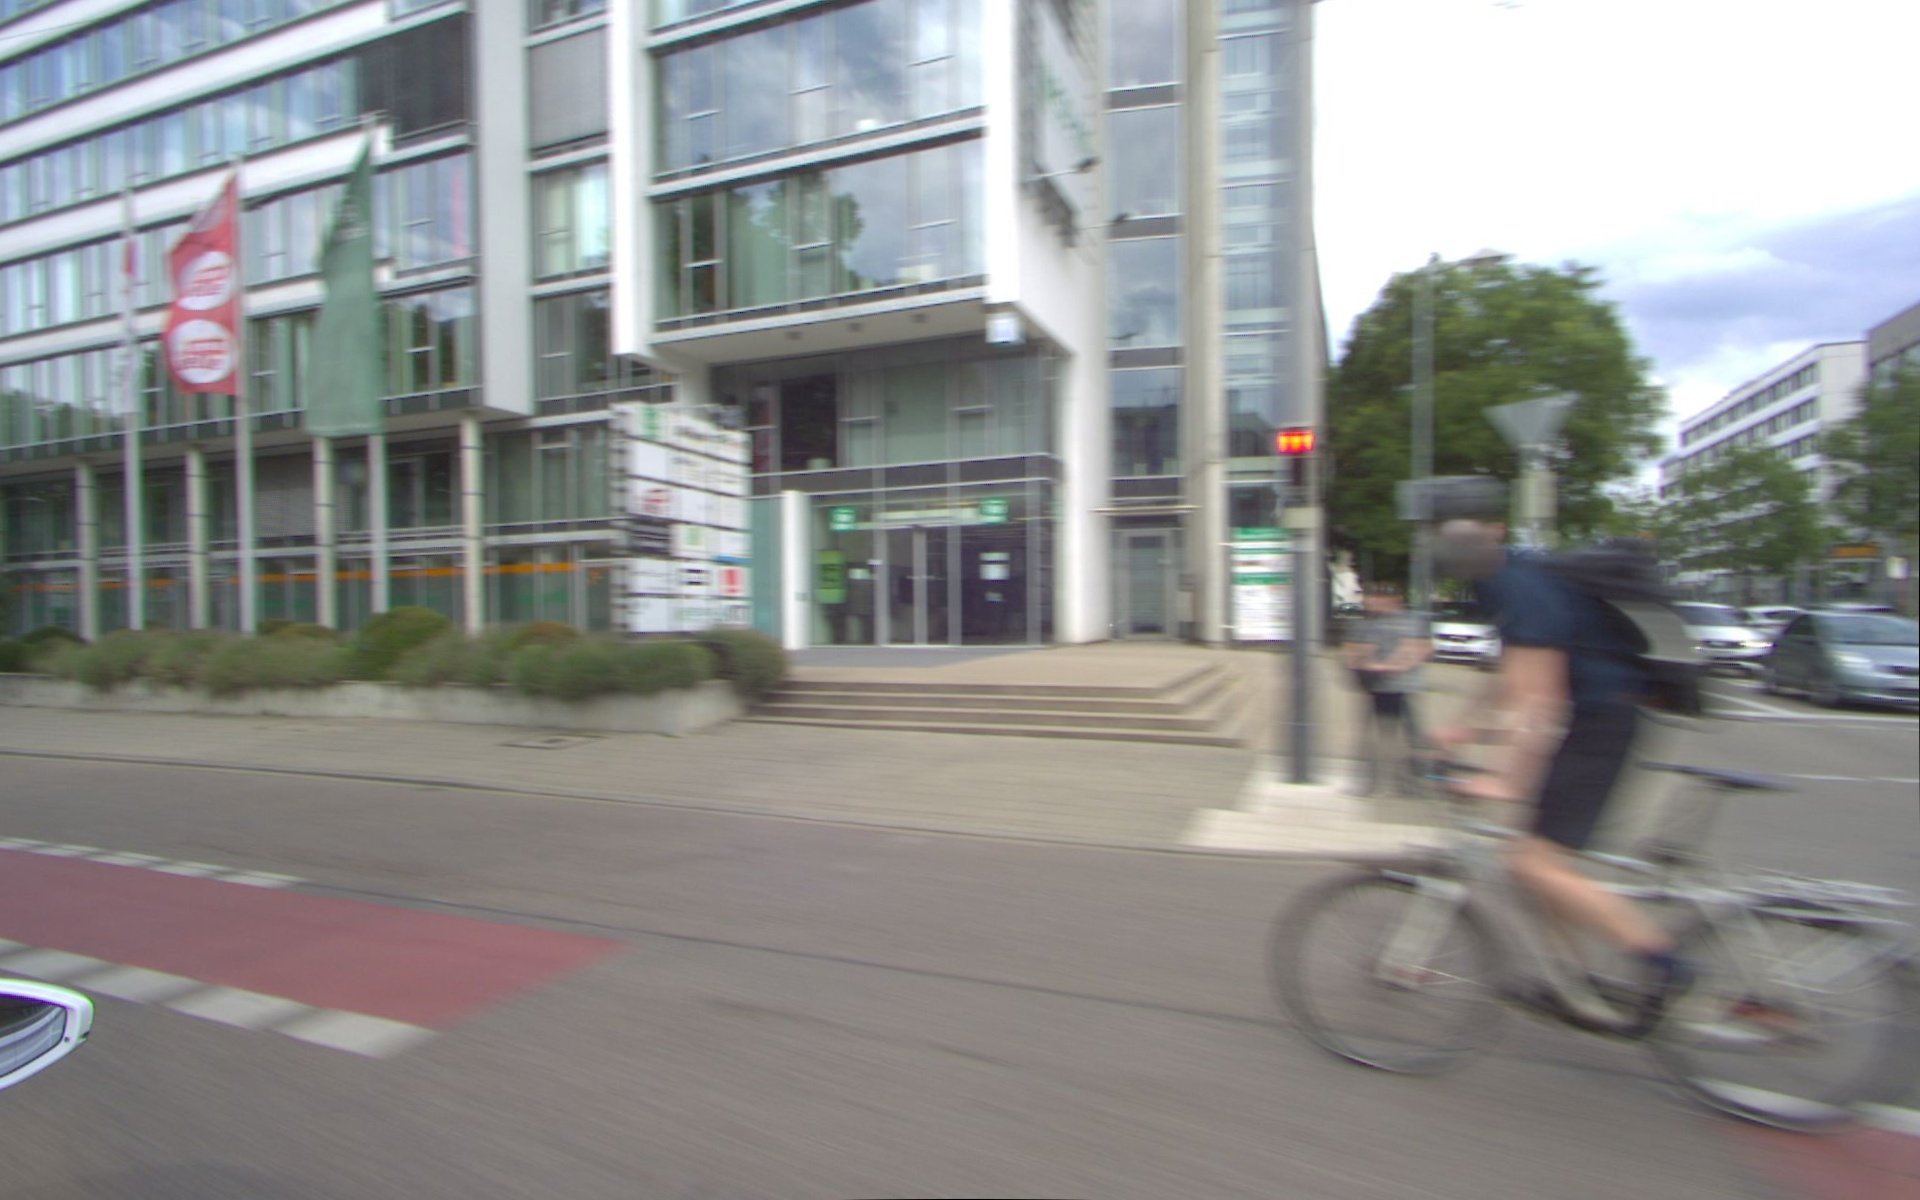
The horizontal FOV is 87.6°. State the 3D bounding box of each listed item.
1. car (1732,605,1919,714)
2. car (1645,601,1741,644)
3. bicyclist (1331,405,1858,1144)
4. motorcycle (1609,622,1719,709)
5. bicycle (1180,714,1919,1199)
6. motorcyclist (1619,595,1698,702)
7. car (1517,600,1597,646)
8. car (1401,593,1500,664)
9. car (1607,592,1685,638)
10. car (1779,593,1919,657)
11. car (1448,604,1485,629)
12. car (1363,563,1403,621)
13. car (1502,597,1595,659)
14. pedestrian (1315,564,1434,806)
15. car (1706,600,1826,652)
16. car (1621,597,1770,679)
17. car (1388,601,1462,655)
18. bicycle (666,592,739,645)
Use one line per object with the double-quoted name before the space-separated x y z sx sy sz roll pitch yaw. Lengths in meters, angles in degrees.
"car" 14.415 0.875 16.352 1.644 1.527 4.225 2 1 21
"car" 29.562 0.872 40.540 1.840 1.627 4.206 -1 0 17
"bicyclist" 1.836 0.438 3.085 1.214 1.809 0.795 0 0 28
"motorcycle" 11.056 0.973 15.835 0.814 1.216 2.496 1 0 21
"bicycle" 1.828 0.991 3.109 2.099 1.101 0.799 -1 0 29
"motorcyclist" 11.112 0.747 15.957 0.808 1.638 0.880 1 1 21
"car" 22.848 0.850 38.458 1.876 1.606 4.171 2 1 21
"car" 12.219 0.656 25.175 1.803 1.577 4.207 2 1 21
"car" 31.057 0.660 45.476 1.759 2.013 4.114 -1 0 17
"car" 24.902 0.650 27.842 1.851 1.650 4.080 -1 0 17
"car" 34.684 1.077 68.684 1.765 1.606 4.132 2 1 21
"car" 28.159 -0.524 66.746 1.957 3.685 4.504 2 1 18
"car" 17.614 0.778 30.144 1.690 1.682 4.123 2 1 21
"pedestrian" 3.468 0.673 8.351 0.824 1.890 0.762 0 1 30
"car" 26.506 0.825 33.092 1.679 1.627 4.072 -1 0 17
"car" 16.977 0.813 23.353 1.690 1.682 4.123 2 1 21
"car" 14.789 0.834 32.036 1.803 1.577 4.207 2 1 21
"bicycle" -6.009 0.428 23.488 0.576 1.192 2.111 1 0 19
